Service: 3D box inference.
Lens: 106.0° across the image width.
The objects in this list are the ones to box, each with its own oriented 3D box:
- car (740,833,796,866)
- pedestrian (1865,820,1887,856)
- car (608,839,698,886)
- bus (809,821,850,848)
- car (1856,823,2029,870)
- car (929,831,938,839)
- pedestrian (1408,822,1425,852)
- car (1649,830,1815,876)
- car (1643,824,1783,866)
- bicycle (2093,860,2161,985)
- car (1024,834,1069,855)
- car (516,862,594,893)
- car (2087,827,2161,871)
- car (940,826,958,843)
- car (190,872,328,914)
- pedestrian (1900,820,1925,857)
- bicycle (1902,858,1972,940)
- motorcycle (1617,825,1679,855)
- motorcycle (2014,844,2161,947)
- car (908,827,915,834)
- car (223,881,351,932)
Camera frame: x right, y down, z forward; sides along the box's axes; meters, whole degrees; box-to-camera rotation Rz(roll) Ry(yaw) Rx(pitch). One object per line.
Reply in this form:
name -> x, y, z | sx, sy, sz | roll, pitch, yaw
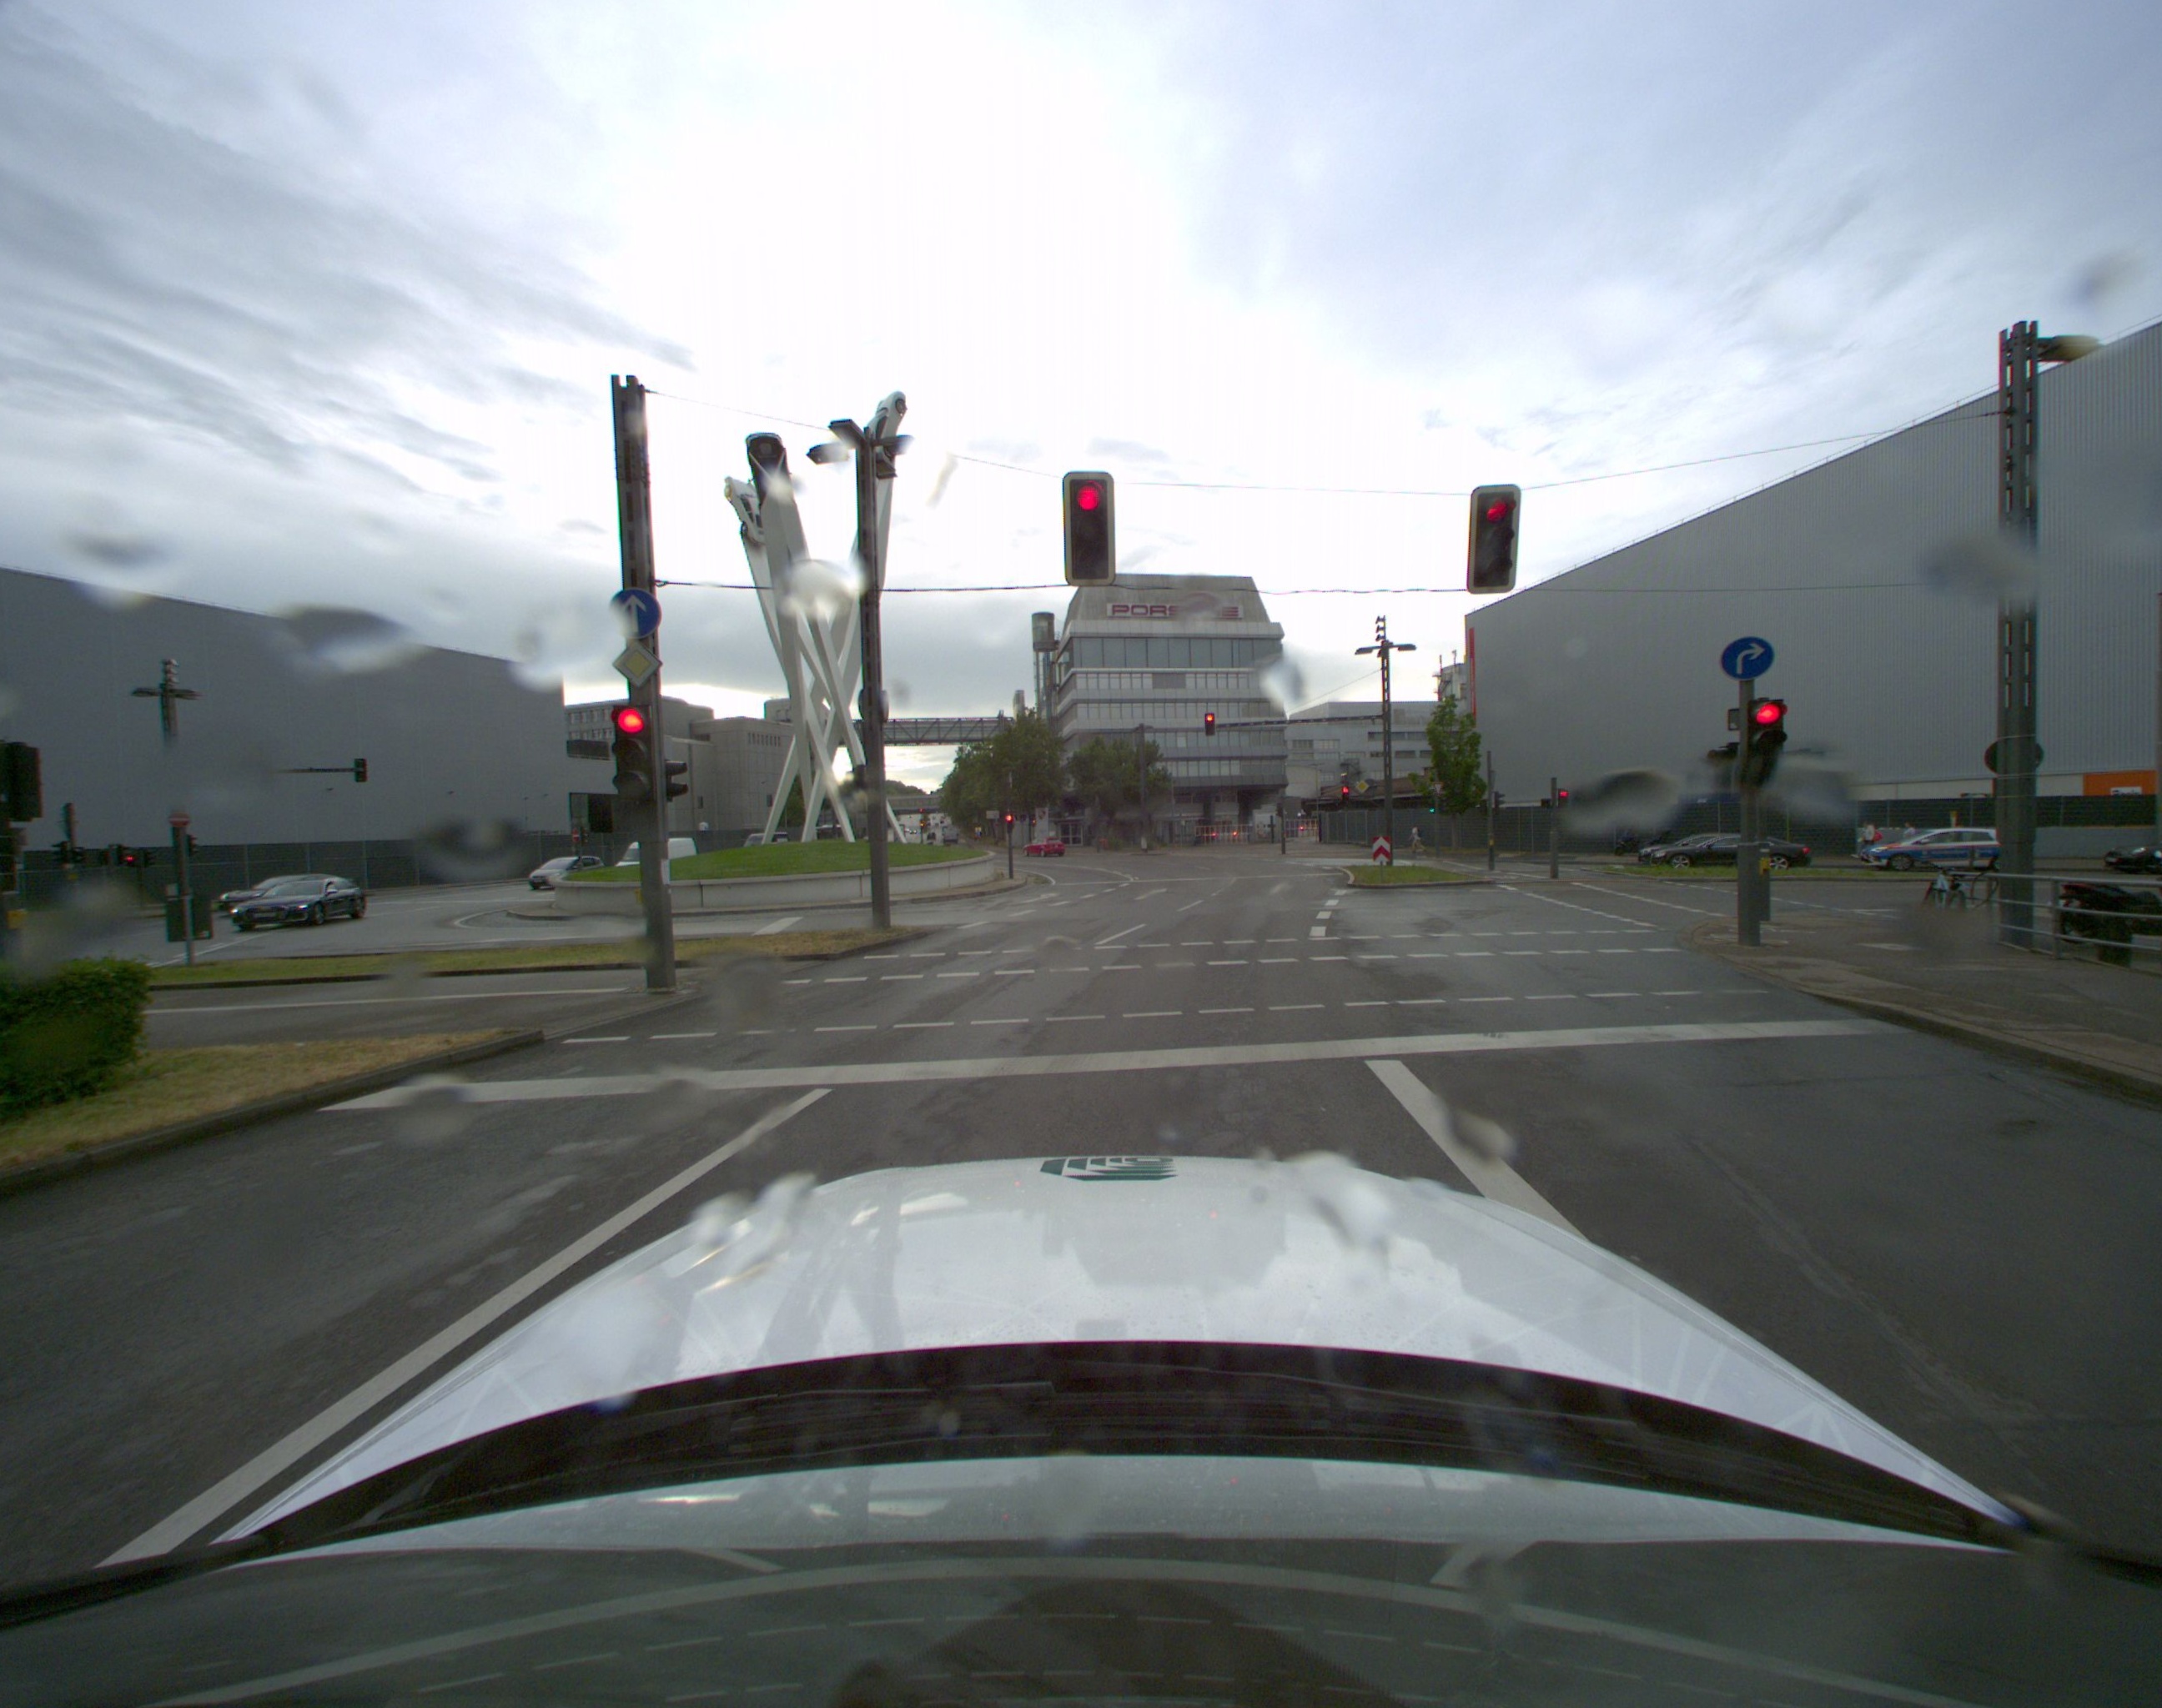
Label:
car -> -28.927, -0.453, 75.533 | 1.958, 2.820, 7.135 | -2, 0, 4
pedestrian -> 33.241, -0.658, 34.062 | 0.605, 1.481, 0.426 | -1, 0, 39
car -> -24.486, 0.425, 46.871 | 1.985, 2.447, 5.432 | -2, 1, 4
bus -> -32.212, -2.368, 104.785 | 2.666, 3.200, 12.640 | -1, 1, -7
car -> 30.954, -0.293, 29.451 | 3.930, 1.601, 1.924 | 0, 1, 33
car -> -27.308, -3.459, 150.669 | 1.558, 1.288, 3.400 | -2, -1, -11
pedestrian -> 18.604, -0.941, 45.153 | 0.801, 1.610, 0.773 | -2, -1, 20
car -> 23.369, -0.077, 29.499 | 4.525, 1.539, 1.769 | 0, 2, 33
car -> 25.043, -0.379, 32.481 | 4.244, 1.539, 1.769 | 0, 2, 33
bicycle -> 9.921, 0.630, 7.195 | 0.381, 1.119, 1.760 | -2, 0, 21
car -> -2.659, -0.688, 61.811 | 1.785, 1.464, 3.693 | -1, -1, -34
car -> -28.884, 1.252, 44.851 | 1.830, 1.494, 3.994 | -2, 0, -4
car -> 35.978, -0.168, 26.337 | 3.948, 1.392, 1.769 | 0, 2, 33
car -> -19.311, -2.829, 118.838 | 2.234, 2.108, 4.934 | -2, -1, -12
car -> -33.666, 1.547, 33.558 | 1.836, 1.472, 4.492 | -2, 0, -14
pedestrian -> 33.882, -0.625, 33.199 | 0.642, 1.481, 0.442 | -1, 0, 36
bicycle -> 12.713, 0.635, 12.128 | 0.381, 1.097, 1.762 | -2, 0, 36
motorcycle -> 26.634, -0.660, 38.317 | 2.329, 1.344, 0.657 | -1, 1, 31
motorcycle -> 15.464, 0.600, 11.998 | 2.212, 1.452, 0.759 | -1, 0, 14
car -> -47.025, -6.536, 225.853 | 1.628, 1.816, 3.718 | -1, 1, -11
car -> -25.724, 1.641, 26.560 | 1.855, 1.338, 3.965 | -2, 0, -27
